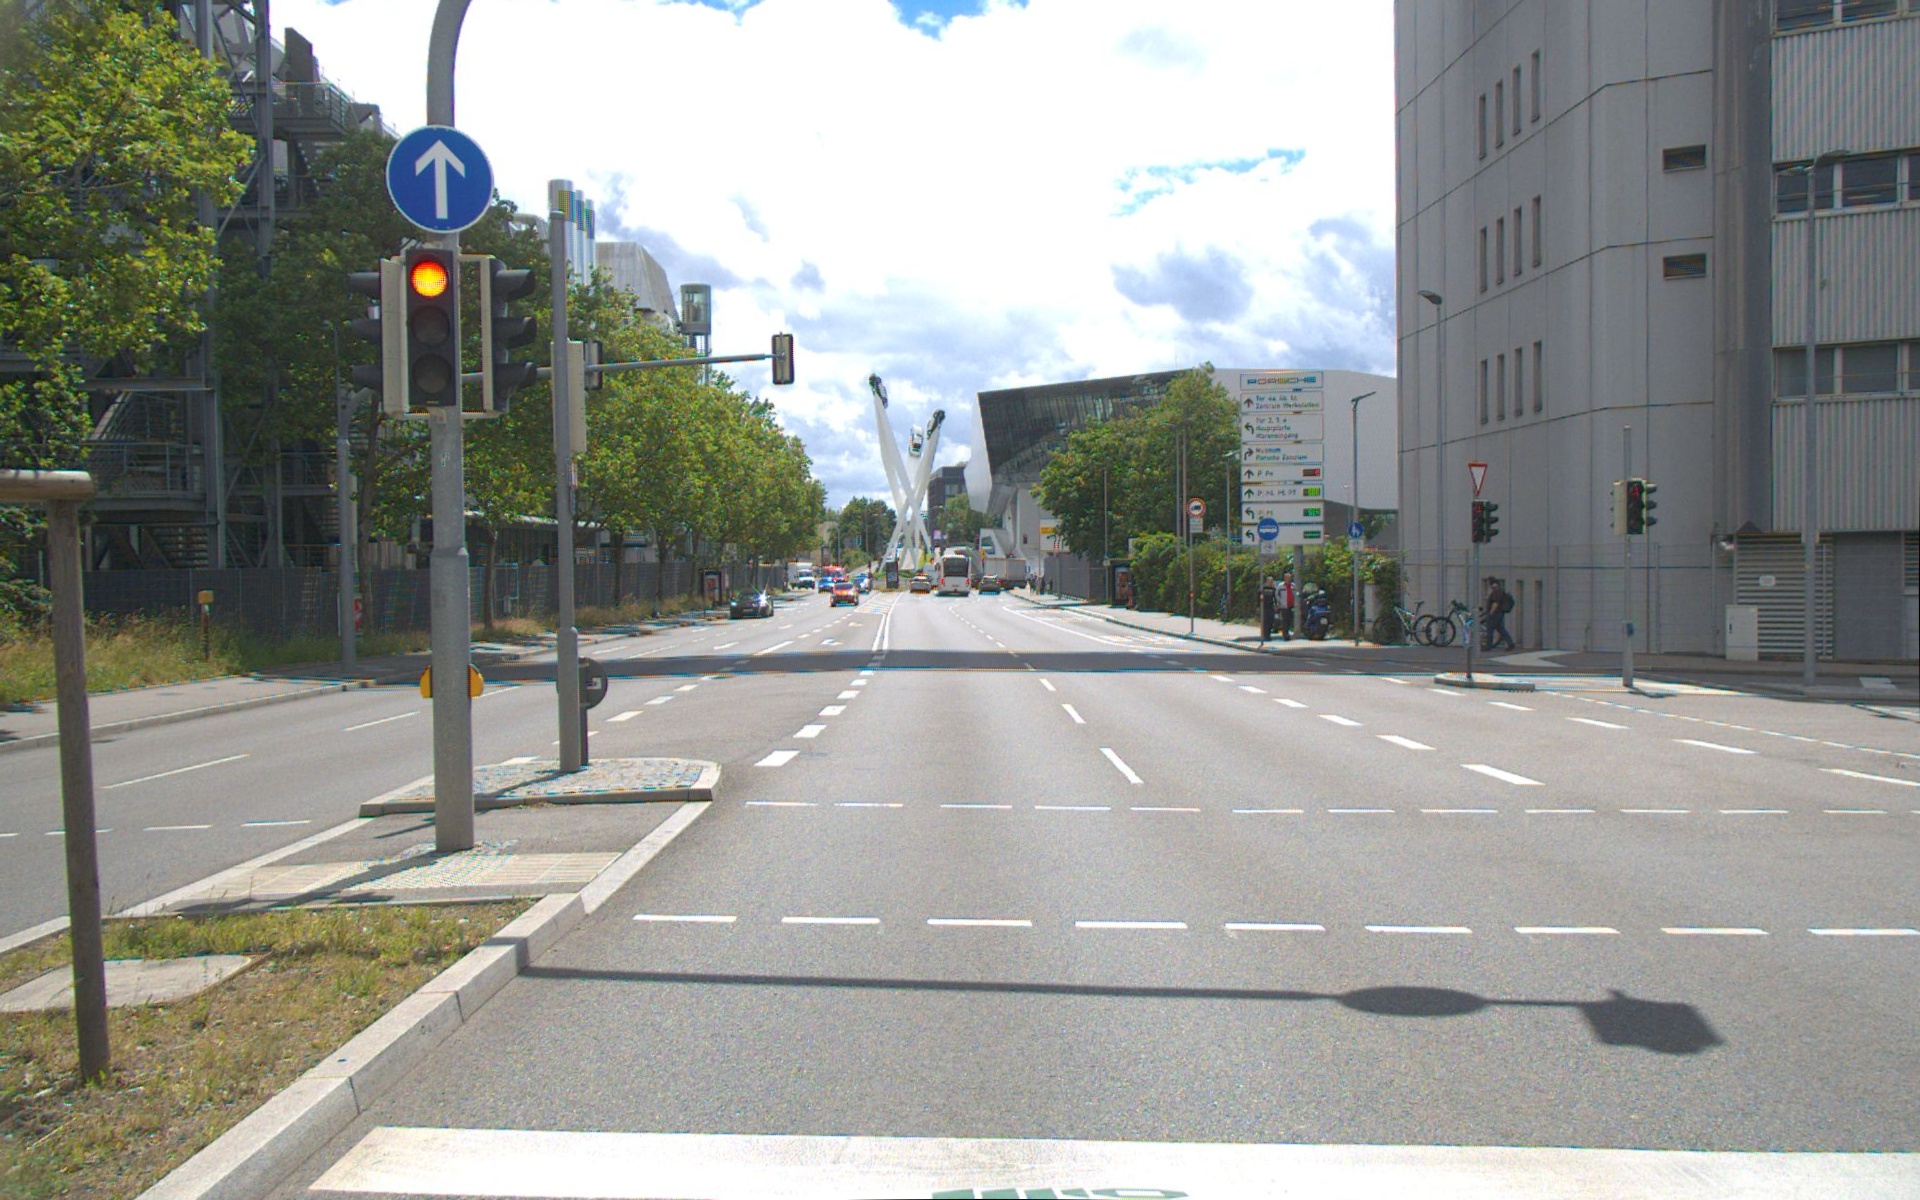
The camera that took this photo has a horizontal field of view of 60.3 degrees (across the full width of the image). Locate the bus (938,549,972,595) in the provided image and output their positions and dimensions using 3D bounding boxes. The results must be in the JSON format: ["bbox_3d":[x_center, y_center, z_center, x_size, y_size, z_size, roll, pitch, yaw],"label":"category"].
[{"bbox_3d":[-0.443,-2.310,139.109,2.730,3.750,6.942,1,0,0],"label":"bus"}]

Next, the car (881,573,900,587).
[{"bbox_3d":[-6.550,-1.863,155.731,1.525,1.295,3.701,-2,0,0],"label":"car"}]

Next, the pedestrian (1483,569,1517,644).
[{"bbox_3d":[12.202,0.149,37.392,0.643,1.669,0.534,1,-1,27],"label":"pedestrian"}]

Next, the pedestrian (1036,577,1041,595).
[{"bbox_3d":[6.563,-1.146,137.632,0.378,1.446,0.423,1,-1,0],"label":"pedestrian"}]

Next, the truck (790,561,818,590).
[{"bbox_3d":[-18.771,-2.933,199.367,2.538,3.382,7.078,1,0,0],"label":"truck"}]

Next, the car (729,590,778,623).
[{"bbox_3d":[-10.530,0.299,84.648,1.878,1.514,4.772,-2,1,0],"label":"car"}]

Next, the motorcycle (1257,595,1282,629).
[{"bbox_3d":[9.742,0.366,52.147,0.448,1.040,1.913,1,0,1],"label":"motorcycle"}]

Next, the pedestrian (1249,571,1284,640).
[{"bbox_3d":[8.399,0.146,45.361,0.631,1.825,0.709,-3,1,-16],"label":"pedestrian"}]

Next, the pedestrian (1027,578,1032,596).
[{"bbox_3d":[5.820,-1.092,138.059,0.378,1.446,0.423,1,-1,0],"label":"pedestrian"}]

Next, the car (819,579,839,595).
[{"bbox_3d":[-13.115,-1.308,165.719,1.761,1.601,3.998,0,0,-2],"label":"car"}]

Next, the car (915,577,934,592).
[{"bbox_3d":[-3.186,-1.391,148.646,1.525,1.295,3.701,-2,0,1],"label":"car"}]

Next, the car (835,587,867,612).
[{"bbox_3d":[-6.884,-0.040,104.744,1.733,1.445,3.701,-2,0,0],"label":"car"}]

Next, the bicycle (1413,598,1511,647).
[{"bbox_3d":[11.806,0.526,38.938,2.149,1.105,0.475,1,-1,35],"label":"bicycle"}]

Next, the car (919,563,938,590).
[{"bbox_3d":[-3.309,-2.447,171.443,1.807,2.669,3.998,1,0,-3],"label":"car"}]

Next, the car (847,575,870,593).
[{"bbox_3d":[-9.017,-1.415,147.133,1.733,1.445,3.701,-2,0,0],"label":"car"}]

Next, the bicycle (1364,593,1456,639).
[{"bbox_3d":[11.156,0.383,41.031,2.180,1.105,0.475,1,-1,35],"label":"bicycle"}]

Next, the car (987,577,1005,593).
[{"bbox_3d":[3.155,-1.327,146.336,1.525,1.295,3.701,-2,0,1],"label":"car"}]

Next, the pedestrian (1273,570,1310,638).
[{"bbox_3d":[9.094,0.110,45.353,0.680,1.825,0.709,-3,1,-16],"label":"pedestrian"}]

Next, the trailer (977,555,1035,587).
[{"bbox_3d":[4.880,-3.018,172.235,3.250,3.047,10.380,1,0,18],"label":"trailer"}]

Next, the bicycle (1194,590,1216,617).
[{"bbox_3d":[9.672,0.150,65.407,0.410,1.040,1.910,1,0,-5],"label":"bicycle"}]

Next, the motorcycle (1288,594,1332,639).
[{"bbox_3d":[9.551,0.449,45.160,0.410,1.186,1.951,1,0,-11],"label":"motorcycle"}]

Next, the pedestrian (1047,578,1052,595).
[{"bbox_3d":[7.497,-1.129,138.205,0.378,1.446,0.423,1,-1,0],"label":"pedestrian"}]

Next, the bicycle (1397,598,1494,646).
[{"bbox_3d":[11.641,0.526,39.706,2.180,1.105,0.475,1,-1,35],"label":"bicycle"}]
